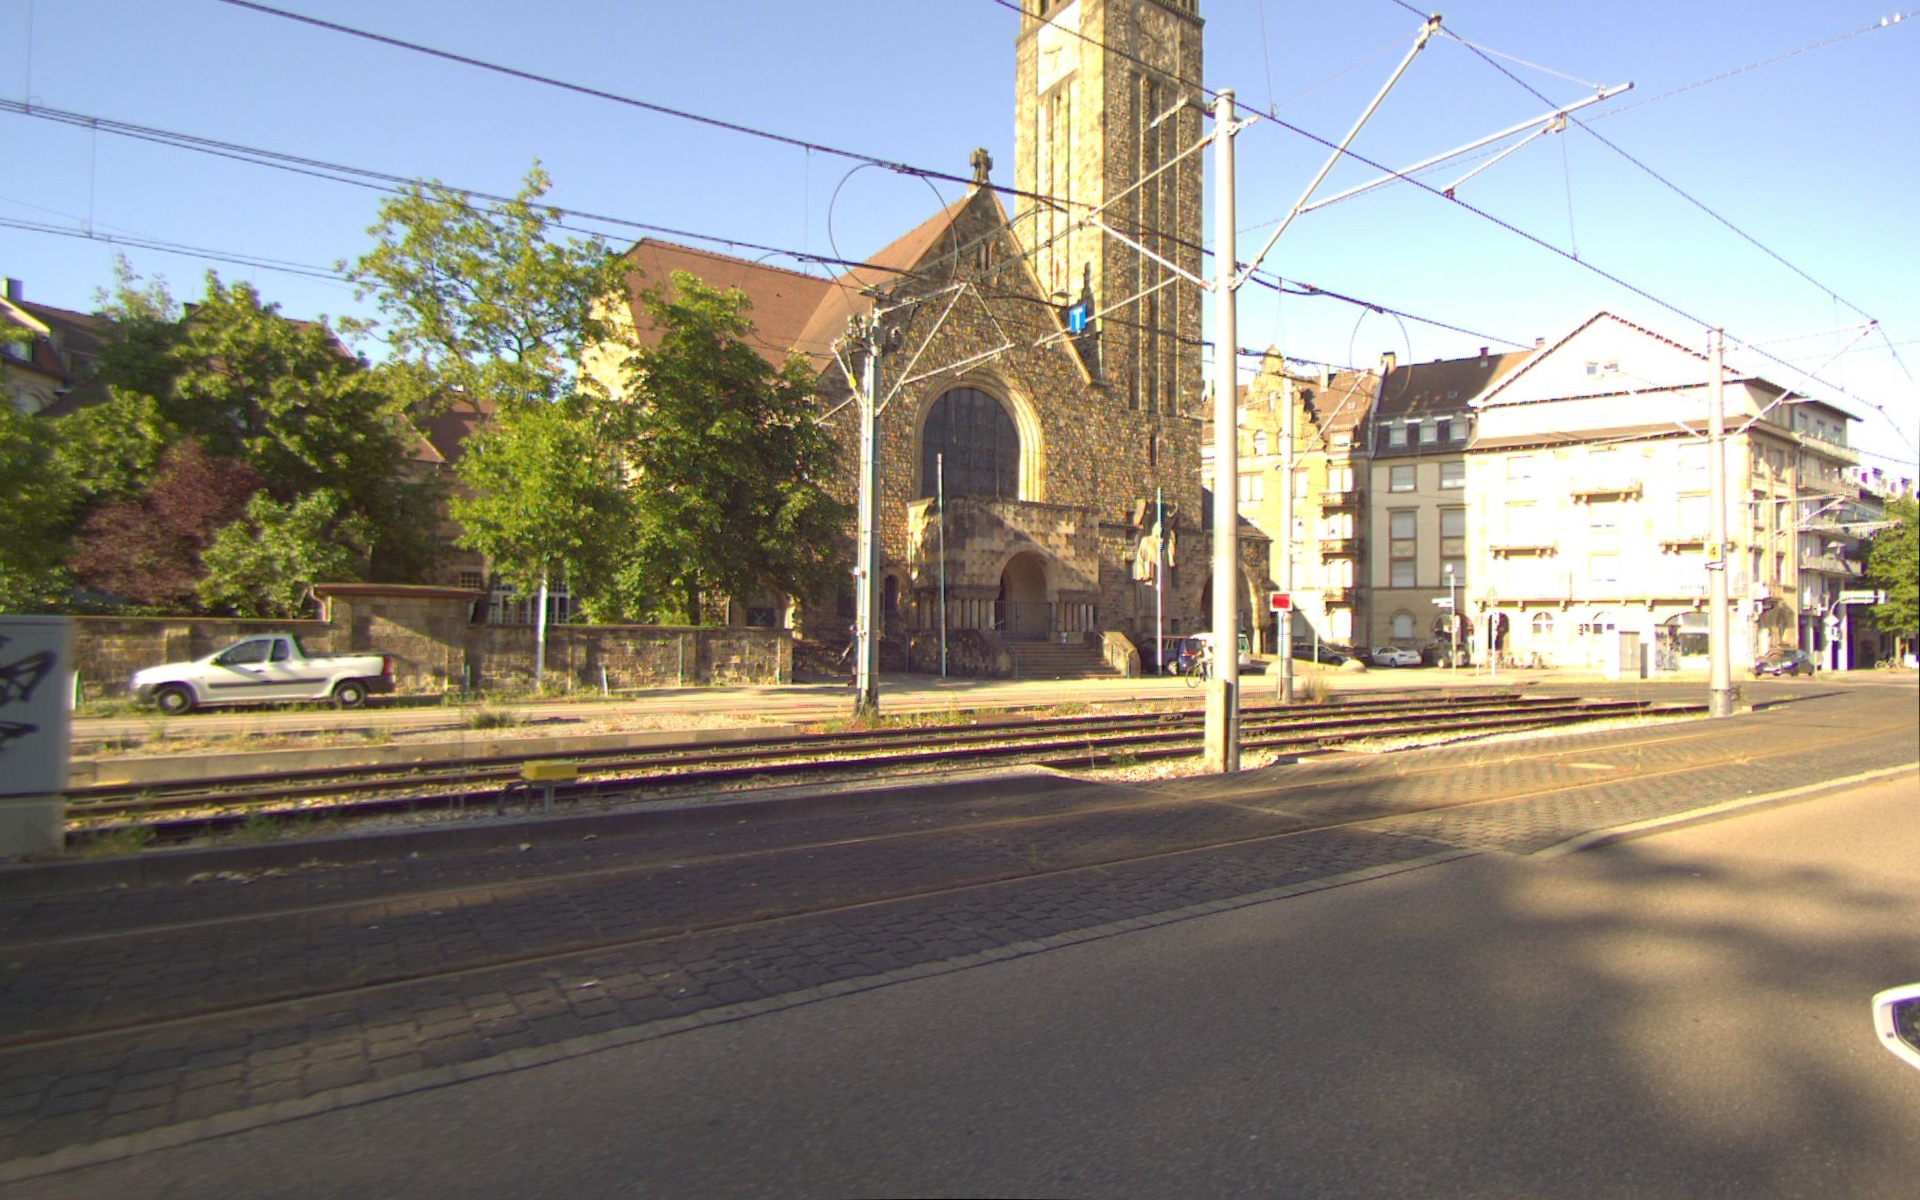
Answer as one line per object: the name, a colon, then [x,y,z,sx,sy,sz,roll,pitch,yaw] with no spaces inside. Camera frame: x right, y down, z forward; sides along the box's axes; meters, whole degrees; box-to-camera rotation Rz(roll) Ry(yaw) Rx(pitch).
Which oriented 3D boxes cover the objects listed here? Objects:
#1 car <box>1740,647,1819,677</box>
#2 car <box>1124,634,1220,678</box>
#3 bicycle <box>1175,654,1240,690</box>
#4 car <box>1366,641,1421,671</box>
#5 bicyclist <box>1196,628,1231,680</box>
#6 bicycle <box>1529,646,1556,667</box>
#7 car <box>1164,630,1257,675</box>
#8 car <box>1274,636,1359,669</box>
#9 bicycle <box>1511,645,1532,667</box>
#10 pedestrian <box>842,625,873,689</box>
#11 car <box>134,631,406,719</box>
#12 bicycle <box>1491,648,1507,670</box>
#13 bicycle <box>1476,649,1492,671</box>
car: [43.987,3.300,53.898,4.789,1.468,1.982,2,-2,-34]
car: [9.208,2.413,43.918,1.873,1.651,3.966,2,0,-31]
bicycle: [8.323,2.403,33.776,2.250,1.159,0.629,1,-4,-28]
car: [30.647,3.925,71.137,1.960,1.776,4.598,2,0,1]
bicyclist: [8.568,1.832,33.942,0.904,1.745,0.629,1,-4,-27]
bicycle: [38.509,3.744,66.350,2.546,1.300,0.814,2,0,-43]
car: [11.370,2.365,45.845,1.873,1.780,3.966,2,0,-31]
car: [22.744,3.338,64.148,4.850,1.776,1.996,2,0,30]
bicycle: [37.240,3.707,66.609,0.811,1.300,2.555,2,0,37]
pedestrian: [-3.164,1.740,30.971,0.748,1.913,0.602,1,0,-31]
car: [-14.067,1.485,20.804,4.460,1.576,1.706,2,0,-32]
bicycle: [36.242,3.946,67.536,0.808,1.300,2.562,2,0,25]
bicycle: [35.436,4.047,67.936,0.808,1.300,2.562,2,0,25]
